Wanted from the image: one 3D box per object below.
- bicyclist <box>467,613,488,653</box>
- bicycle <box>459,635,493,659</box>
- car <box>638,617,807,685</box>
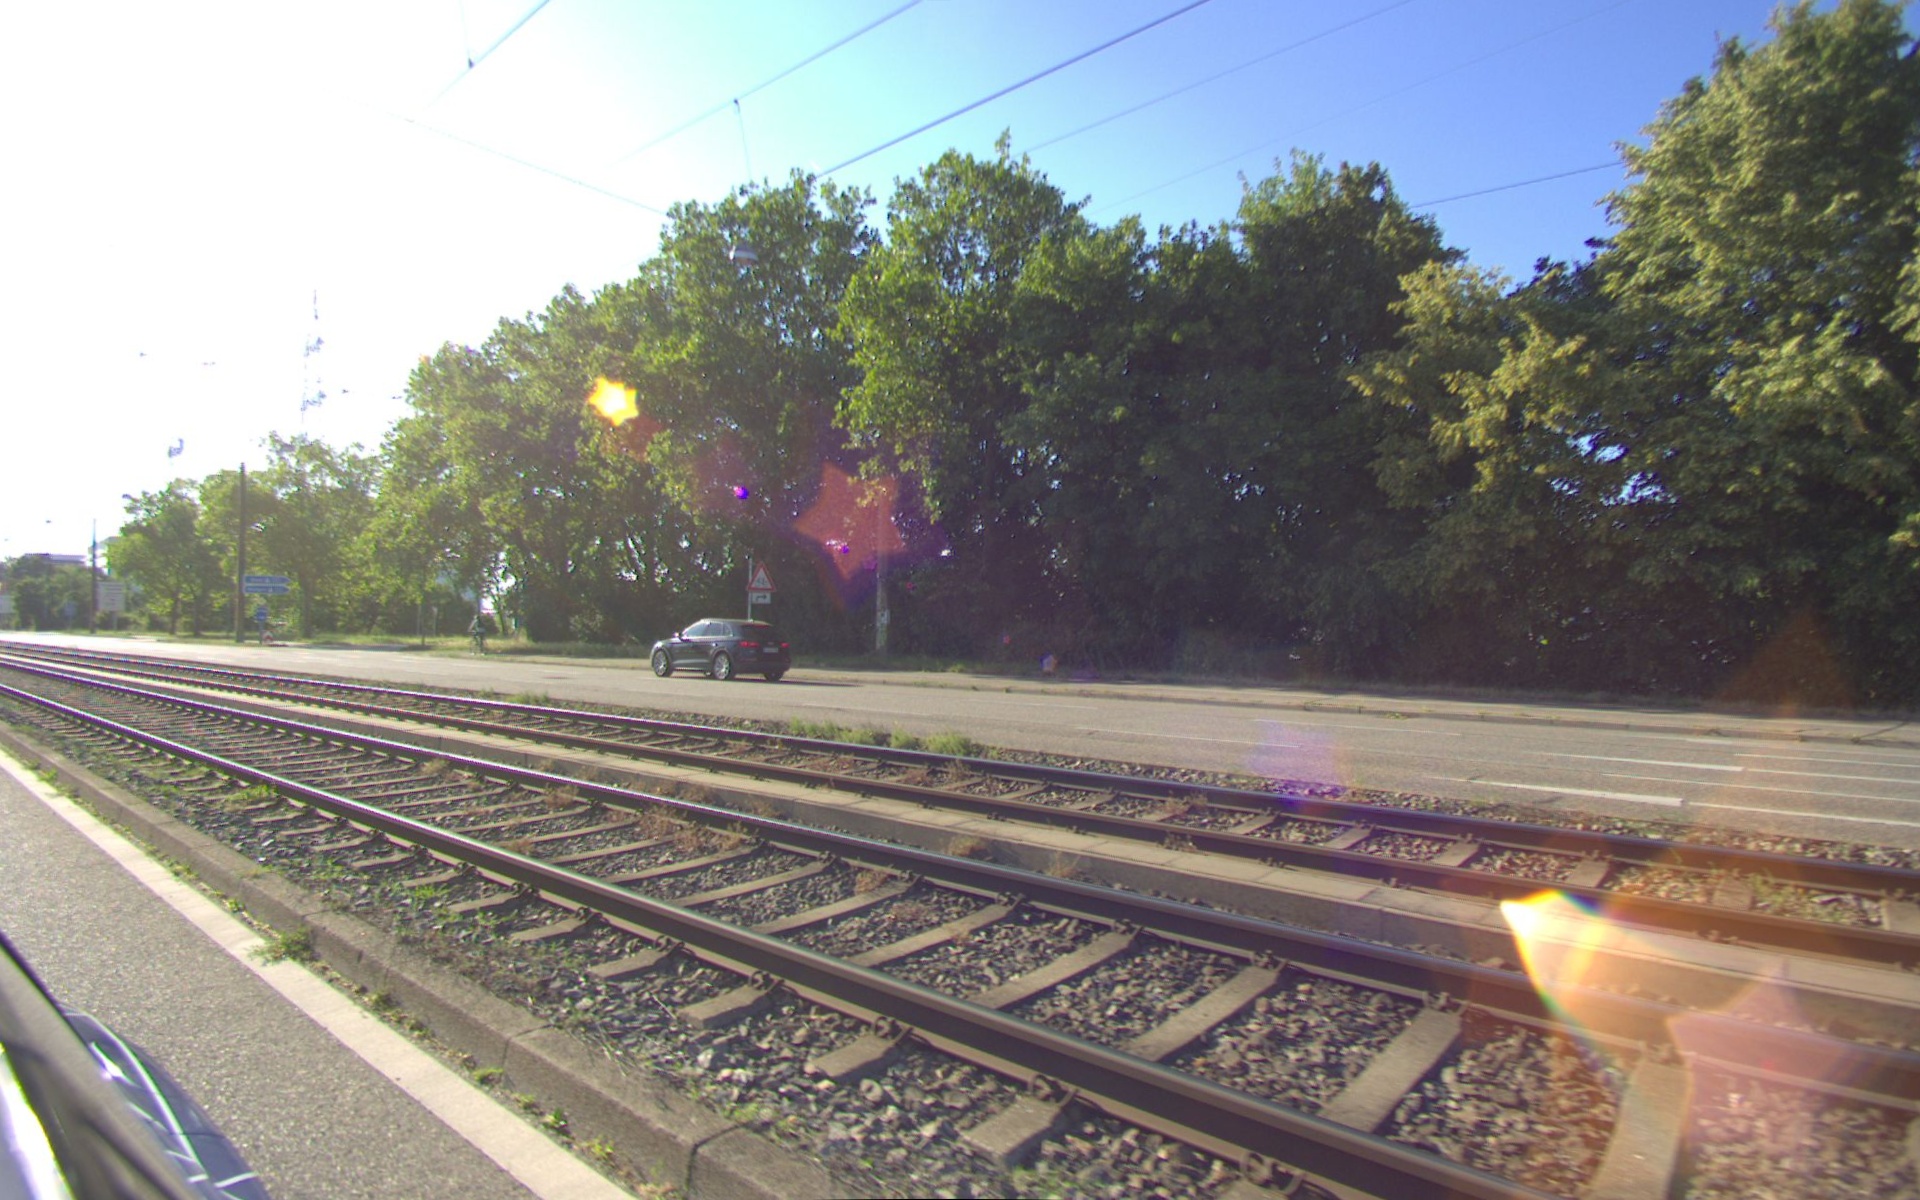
[{"bbox_3d":[-20.942,1.434,43.916,0.544,1.703,0.820,-1,0,-45],"label":"bicyclist"},{"bbox_3d":[-20.939,2.016,43.733,2.239,0.993,0.544,-1,0,43],"label":"bicycle"},{"bbox_3d":[-6.562,1.344,27.660,4.791,1.698,1.974,-1,-3,39],"label":"car"}]
